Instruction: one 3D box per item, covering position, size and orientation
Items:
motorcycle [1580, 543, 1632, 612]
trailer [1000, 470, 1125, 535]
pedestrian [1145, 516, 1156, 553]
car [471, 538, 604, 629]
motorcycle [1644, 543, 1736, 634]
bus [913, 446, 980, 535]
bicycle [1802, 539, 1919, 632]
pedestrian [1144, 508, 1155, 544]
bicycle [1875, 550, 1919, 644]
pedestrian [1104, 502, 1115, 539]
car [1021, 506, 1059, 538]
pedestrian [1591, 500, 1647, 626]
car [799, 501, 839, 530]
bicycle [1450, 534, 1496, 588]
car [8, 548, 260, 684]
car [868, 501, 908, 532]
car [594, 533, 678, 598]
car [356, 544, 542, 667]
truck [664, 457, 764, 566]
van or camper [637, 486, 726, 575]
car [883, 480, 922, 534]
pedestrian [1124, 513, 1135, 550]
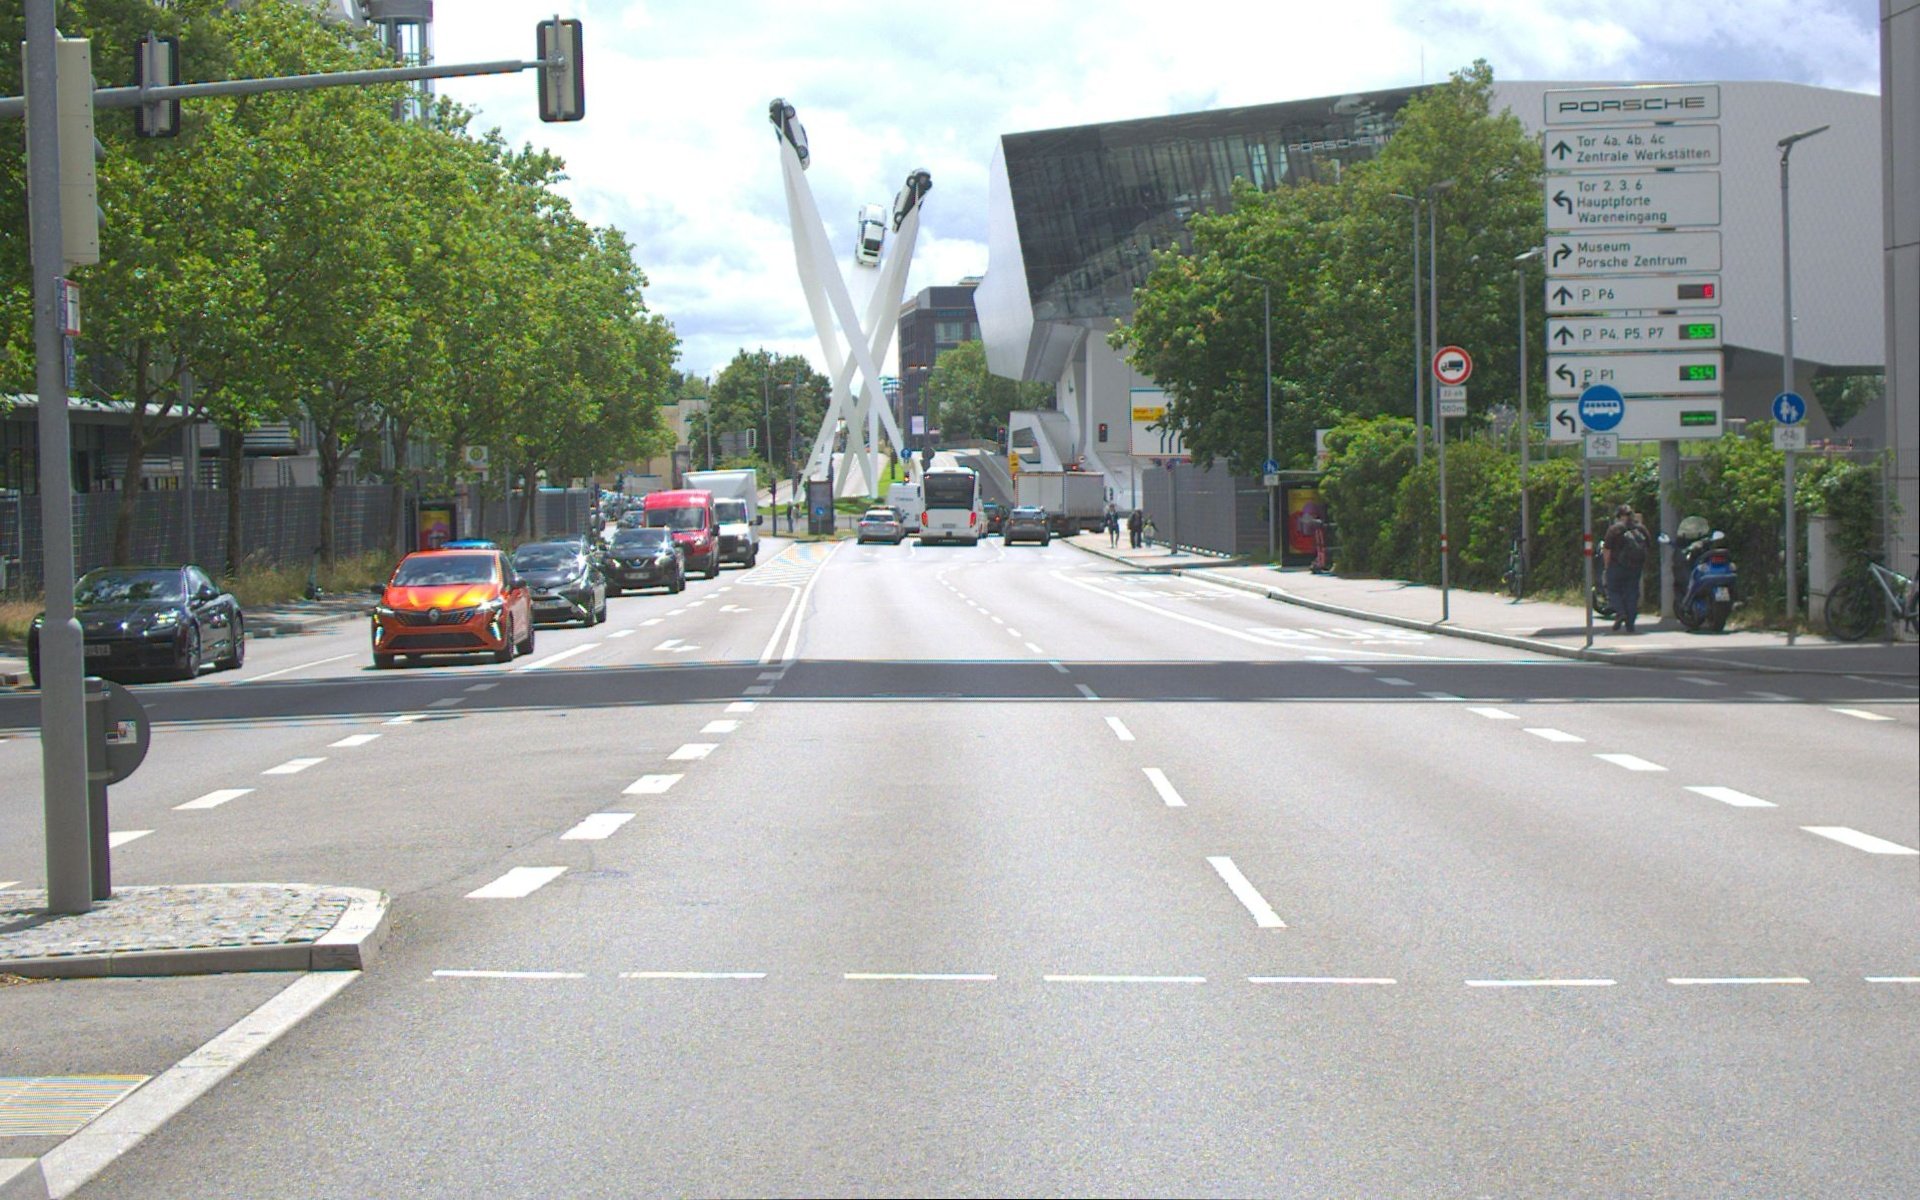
[{"bbox_3d":[9.763,-0.342,51.991,0.457,1.019,1.912,1,1,1],"label":"motorcycle"},{"bbox_3d":[5.200,-4.851,172.099,3.322,2.984,10.366,1,1,19],"label":"trailer"},{"bbox_3d":[7.335,-2.524,132.672,0.386,1.416,0.423,1,0,0],"label":"pedestrian"},{"bbox_3d":[-7.238,-0.306,59.208,1.769,1.415,3.701,-3,1,0],"label":"car"},{"bbox_3d":[9.543,-0.164,45.008,0.418,1.162,1.957,1,1,-11],"label":"motorcycle"},{"bbox_3d":[-0.564,-4.742,150.112,2.787,3.673,6.943,1,1,0],"label":"bus"},{"bbox_3d":[11.167,-0.174,40.853,2.222,1.083,0.476,1,1,35],"label":"bicycle"},{"bbox_3d":[7.490,-2.921,135.627,0.386,1.416,0.423,1,0,0],"label":"pedestrian"},{"bbox_3d":[11.708,-0.018,39.595,2.222,1.083,0.476,1,1,35],"label":"bicycle"},{"bbox_3d":[5.896,-3.139,135.847,0.386,1.416,0.423,1,0,0],"label":"pedestrian"},{"bbox_3d":[3.389,-3.304,146.145,1.557,1.269,3.701,-3,1,1],"label":"car"},{"bbox_3d":[8.692,-0.486,45.367,0.533,1.635,0.658,1,0,-6],"label":"pedestrian"},{"bbox_3d":[-6.372,-3.820,155.585,1.557,1.269,3.701,-3,1,0],"label":"car"},{"bbox_3d":[9.736,-0.739,65.248,0.418,1.019,1.913,1,1,-5],"label":"bicycle"},{"bbox_3d":[-10.232,0.155,42.929,1.917,1.483,4.772,-3,1,0],"label":"car"},{"bbox_3d":[-3.104,-3.608,148.668,1.557,1.269,3.701,-3,1,1],"label":"car"},{"bbox_3d":[-7.700,-0.835,81.978,1.557,1.443,3.773,-3,1,0],"label":"car"},{"bbox_3d":[-6.510,0.039,44.138,1.769,1.415,3.701,-3,1,0],"label":"car"},{"bbox_3d":[-7.798,-2.769,109.638,2.591,3.312,7.079,1,1,0],"label":"truck"},{"bbox_3d":[-7.815,-1.969,96.969,2.047,2.458,5.595,0,1,0],"label":"van or camper"},{"bbox_3d":[-2.858,-4.624,171.113,1.843,2.614,4.000,1,1,0],"label":"car"},{"bbox_3d":[6.538,-2.646,132.689,0.386,1.416,0.423,1,0,0],"label":"pedestrian"}]
